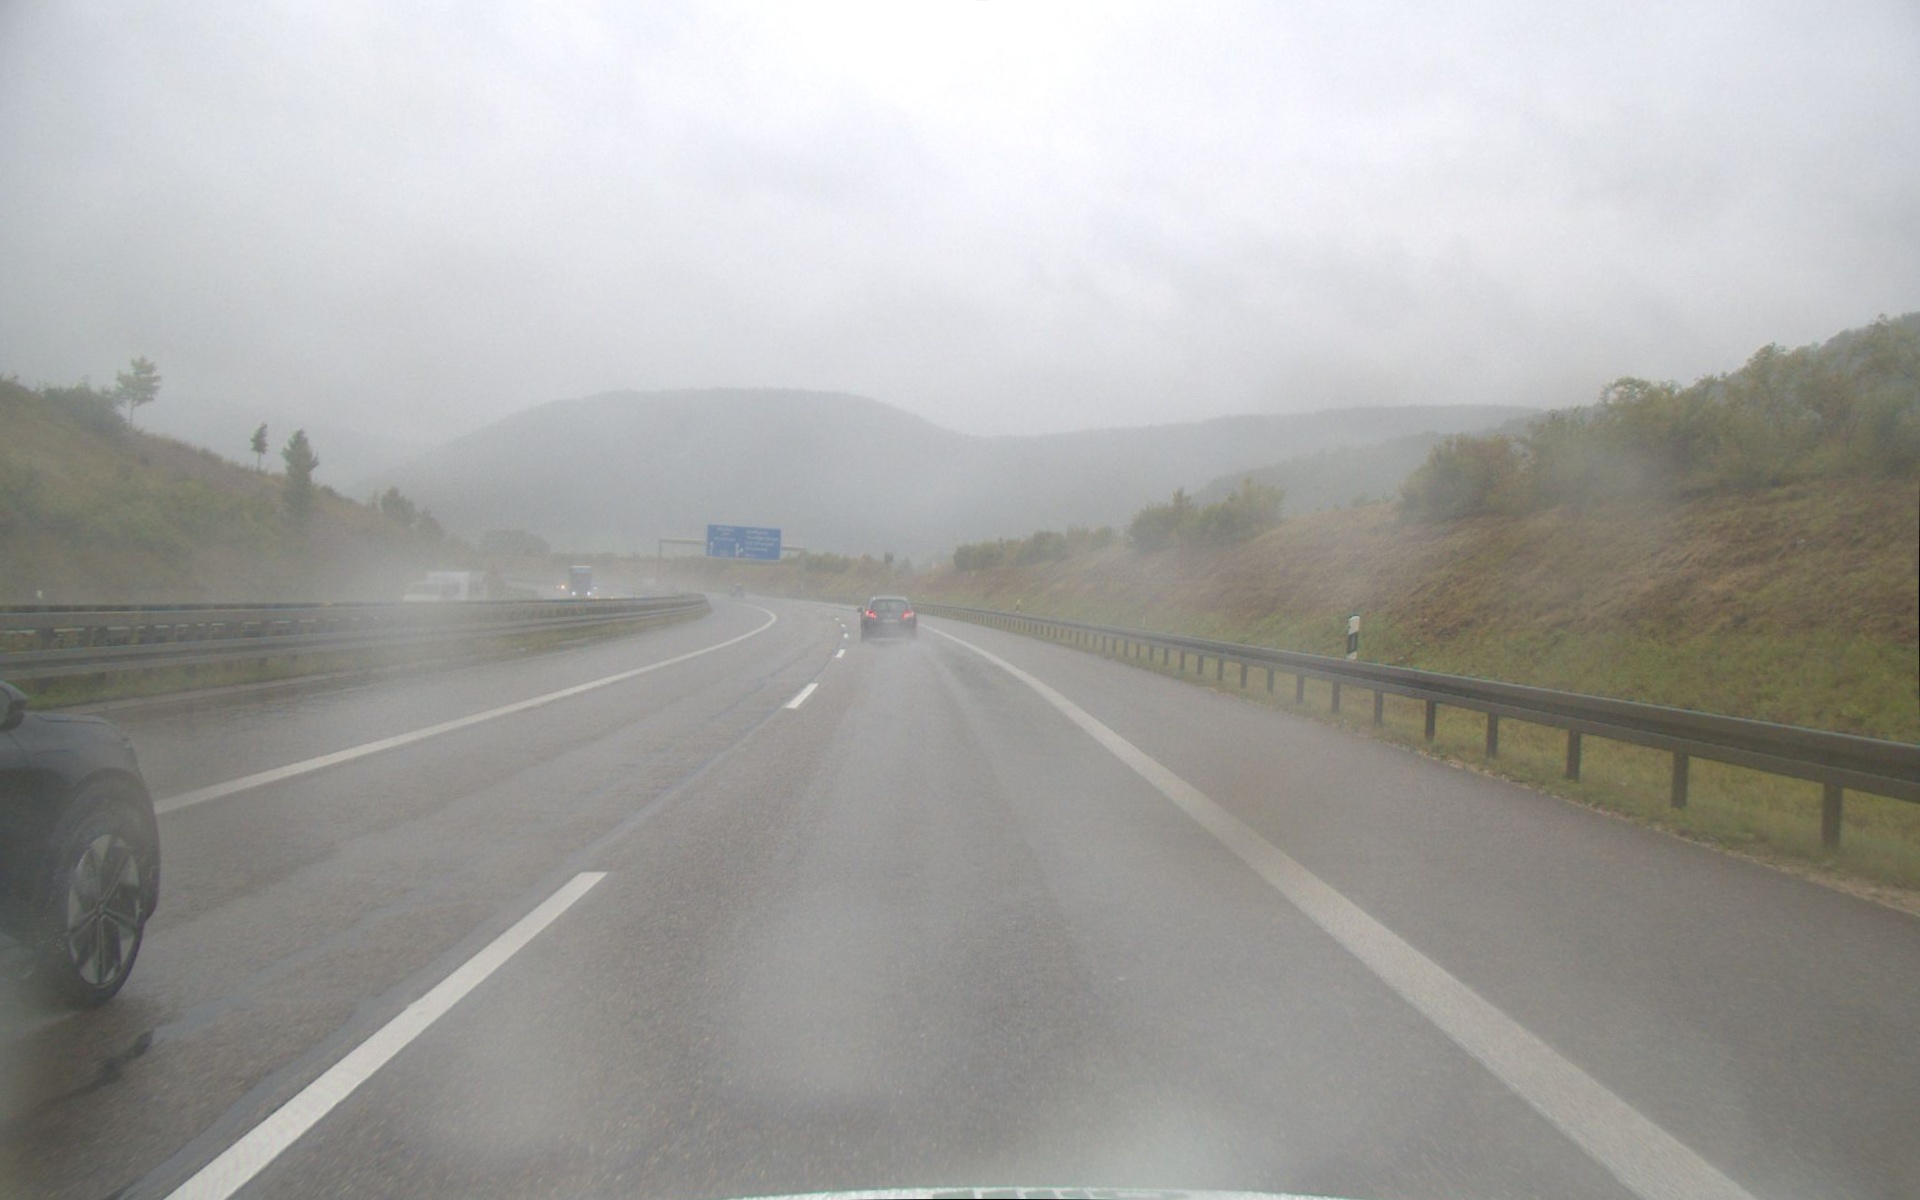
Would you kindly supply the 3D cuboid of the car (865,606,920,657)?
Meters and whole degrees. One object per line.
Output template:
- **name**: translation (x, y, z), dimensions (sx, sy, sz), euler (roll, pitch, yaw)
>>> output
- **car**: translation (-2.138, 0.962, 52.288), dimensions (1.645, 1.498, 3.812), euler (1, 0, -3)

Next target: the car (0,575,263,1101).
- **car**: translation (-3.971, 0.677, 4.268), dimensions (2.357, 1.542, 4.783), euler (1, 0, -1)
